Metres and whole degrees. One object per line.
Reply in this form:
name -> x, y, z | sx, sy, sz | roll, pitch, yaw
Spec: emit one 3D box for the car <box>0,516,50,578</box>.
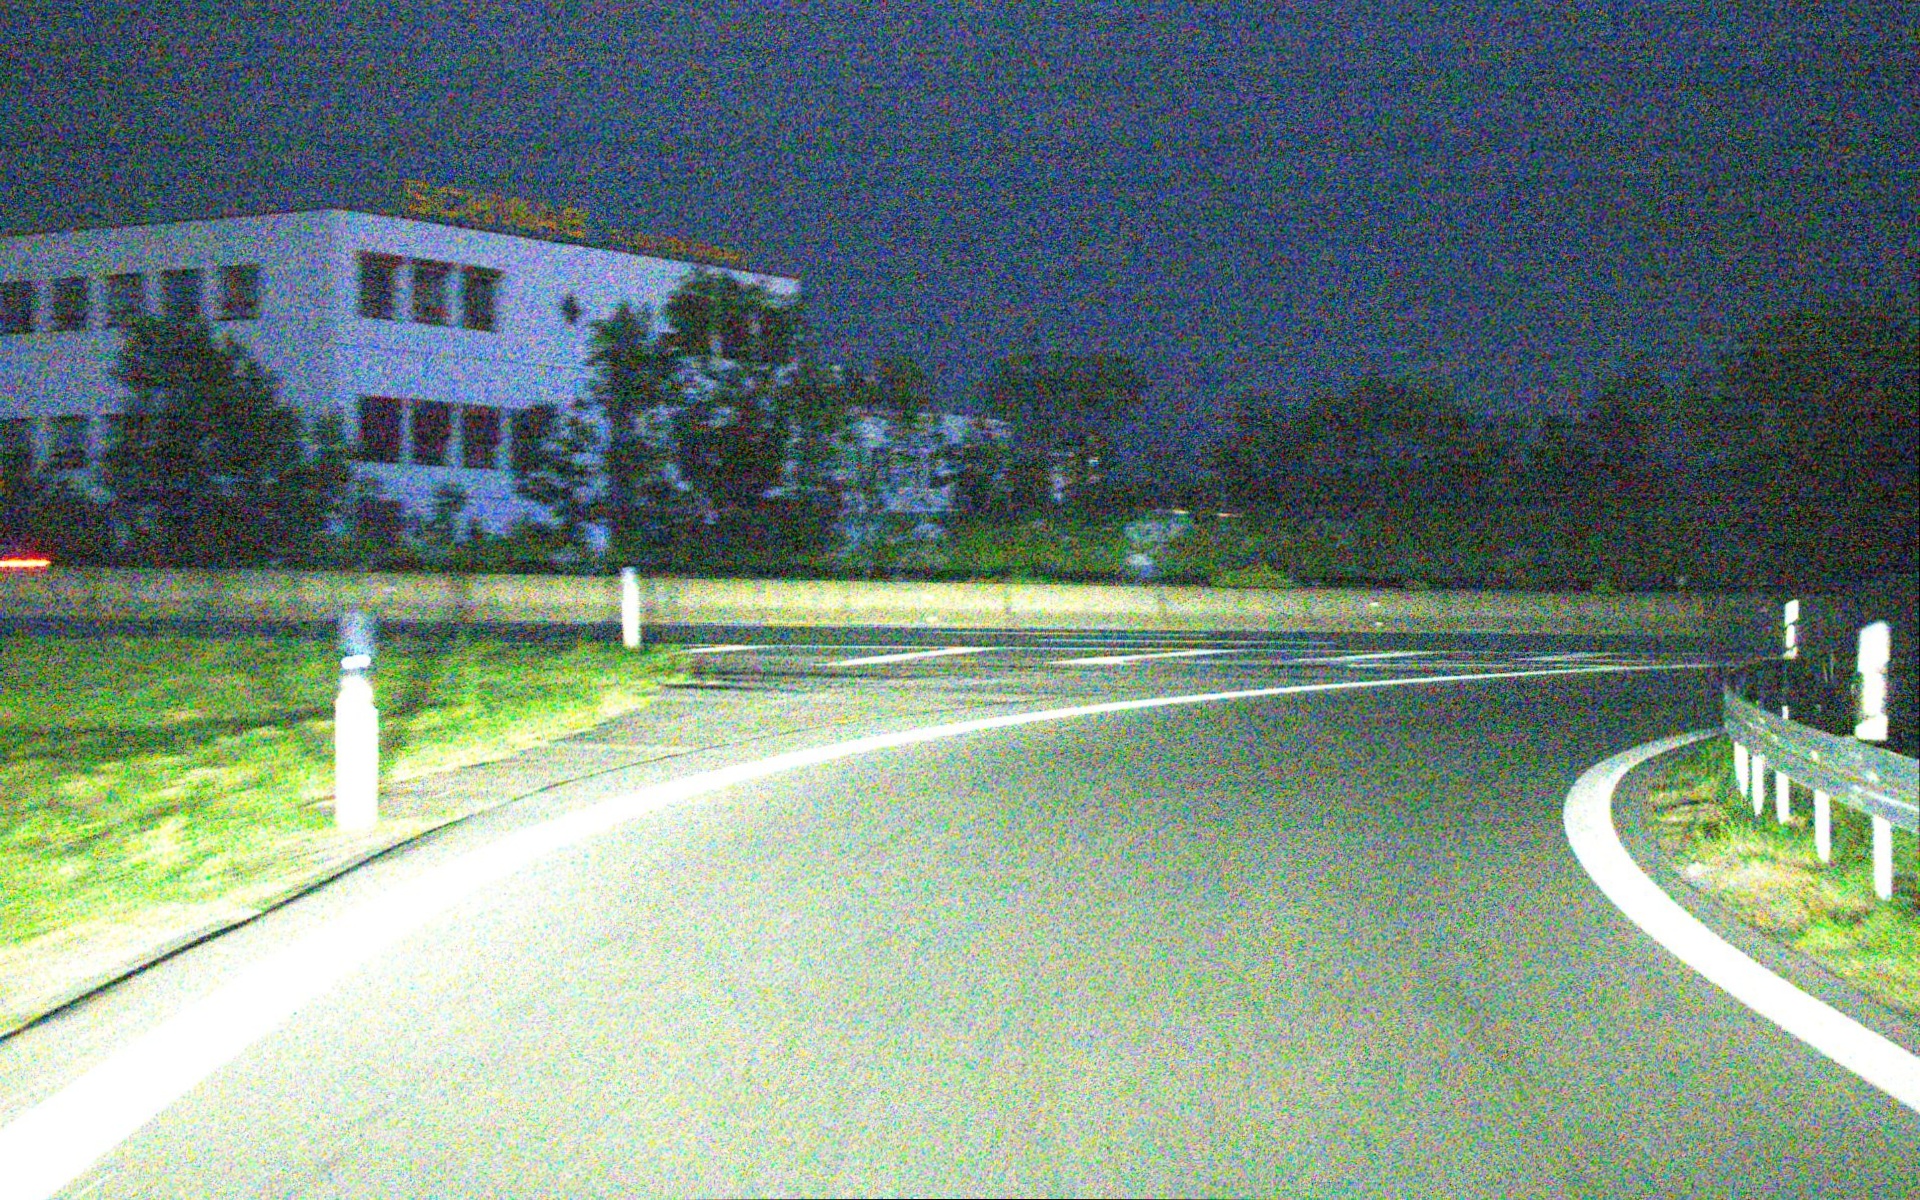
car -> -18.135, -0.964, 60.085 | 3.987, 1.055, 1.564 | 1, 2, -36
